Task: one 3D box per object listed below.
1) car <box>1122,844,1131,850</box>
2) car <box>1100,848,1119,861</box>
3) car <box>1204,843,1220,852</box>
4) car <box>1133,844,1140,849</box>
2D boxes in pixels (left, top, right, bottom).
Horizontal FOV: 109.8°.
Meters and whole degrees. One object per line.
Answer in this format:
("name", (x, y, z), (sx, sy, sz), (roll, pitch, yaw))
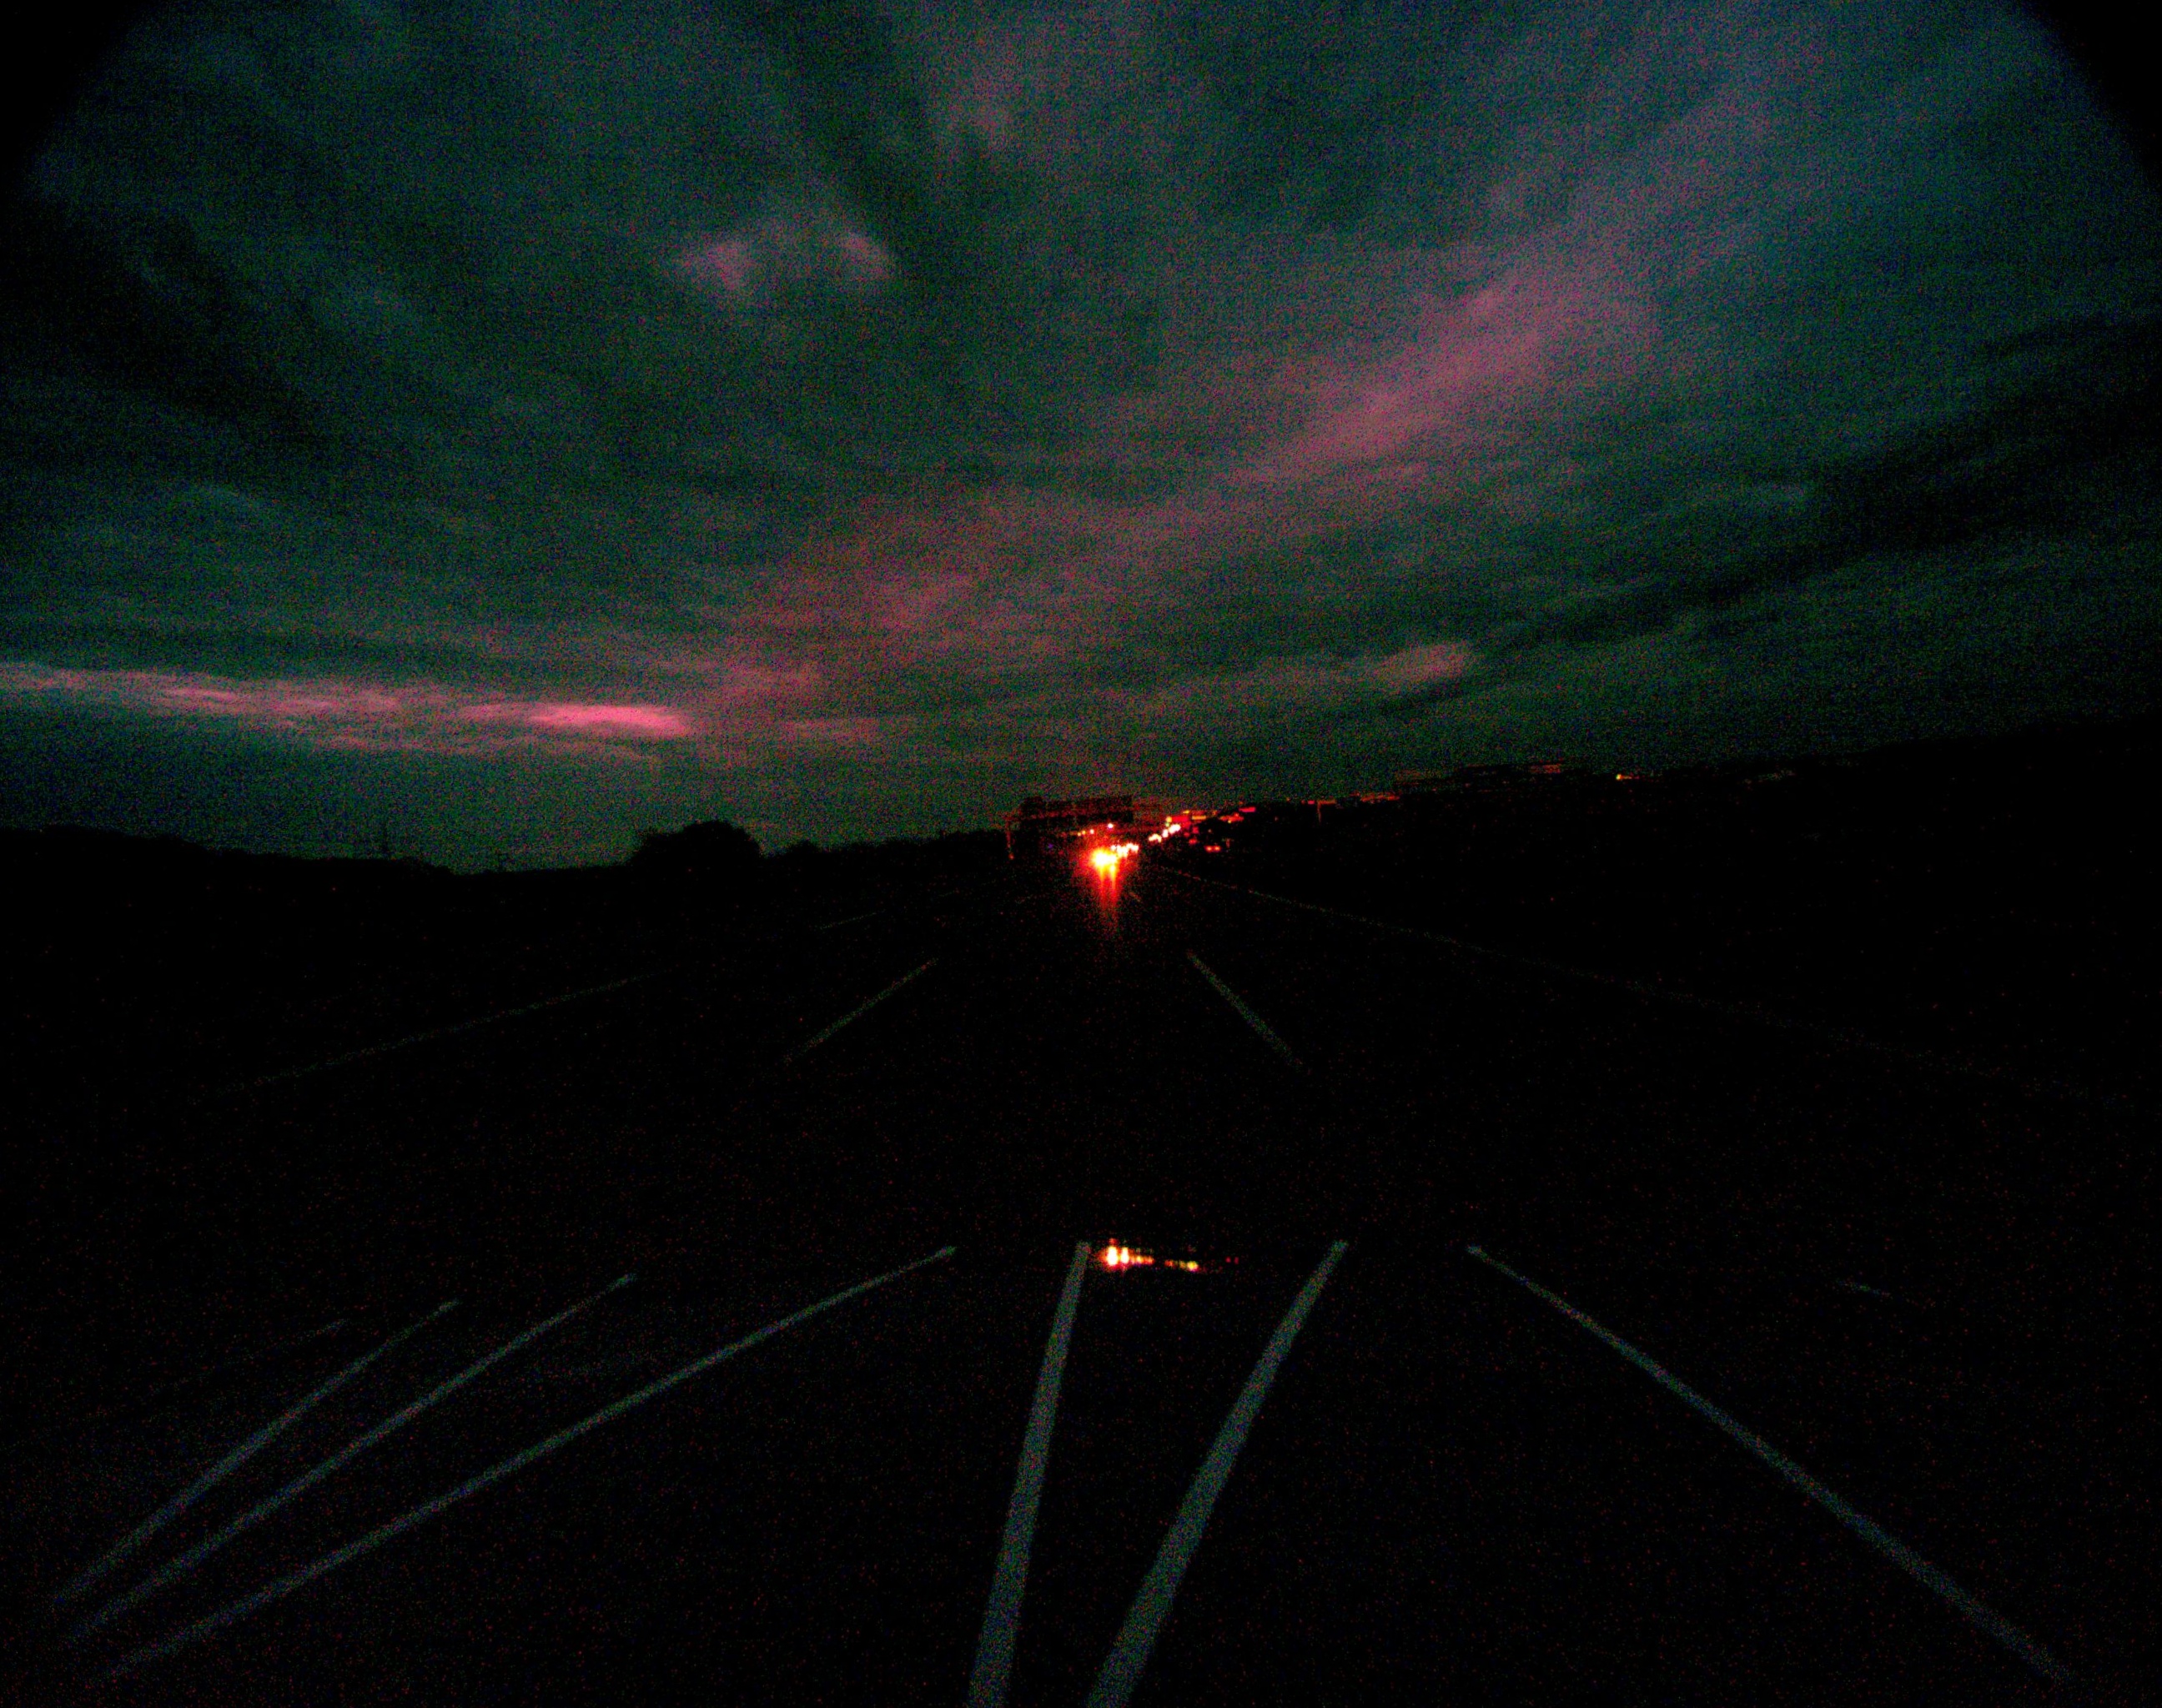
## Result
("car", (11.772, -1.881, 197.149), (1.997, 1.342, 4.176), (-5, 2, 8))
("car", (3.265, 0.017, 87.826), (1.999, 1.342, 4.173), (0, 2, 0))
("car", (22.281, -1.089, 129.243), (1.998, 1.350, 4.865), (-2, 0, 1))
("car", (18.771, -2.561, 256.591), (1.998, 1.342, 4.176), (-5, 2, 7))
